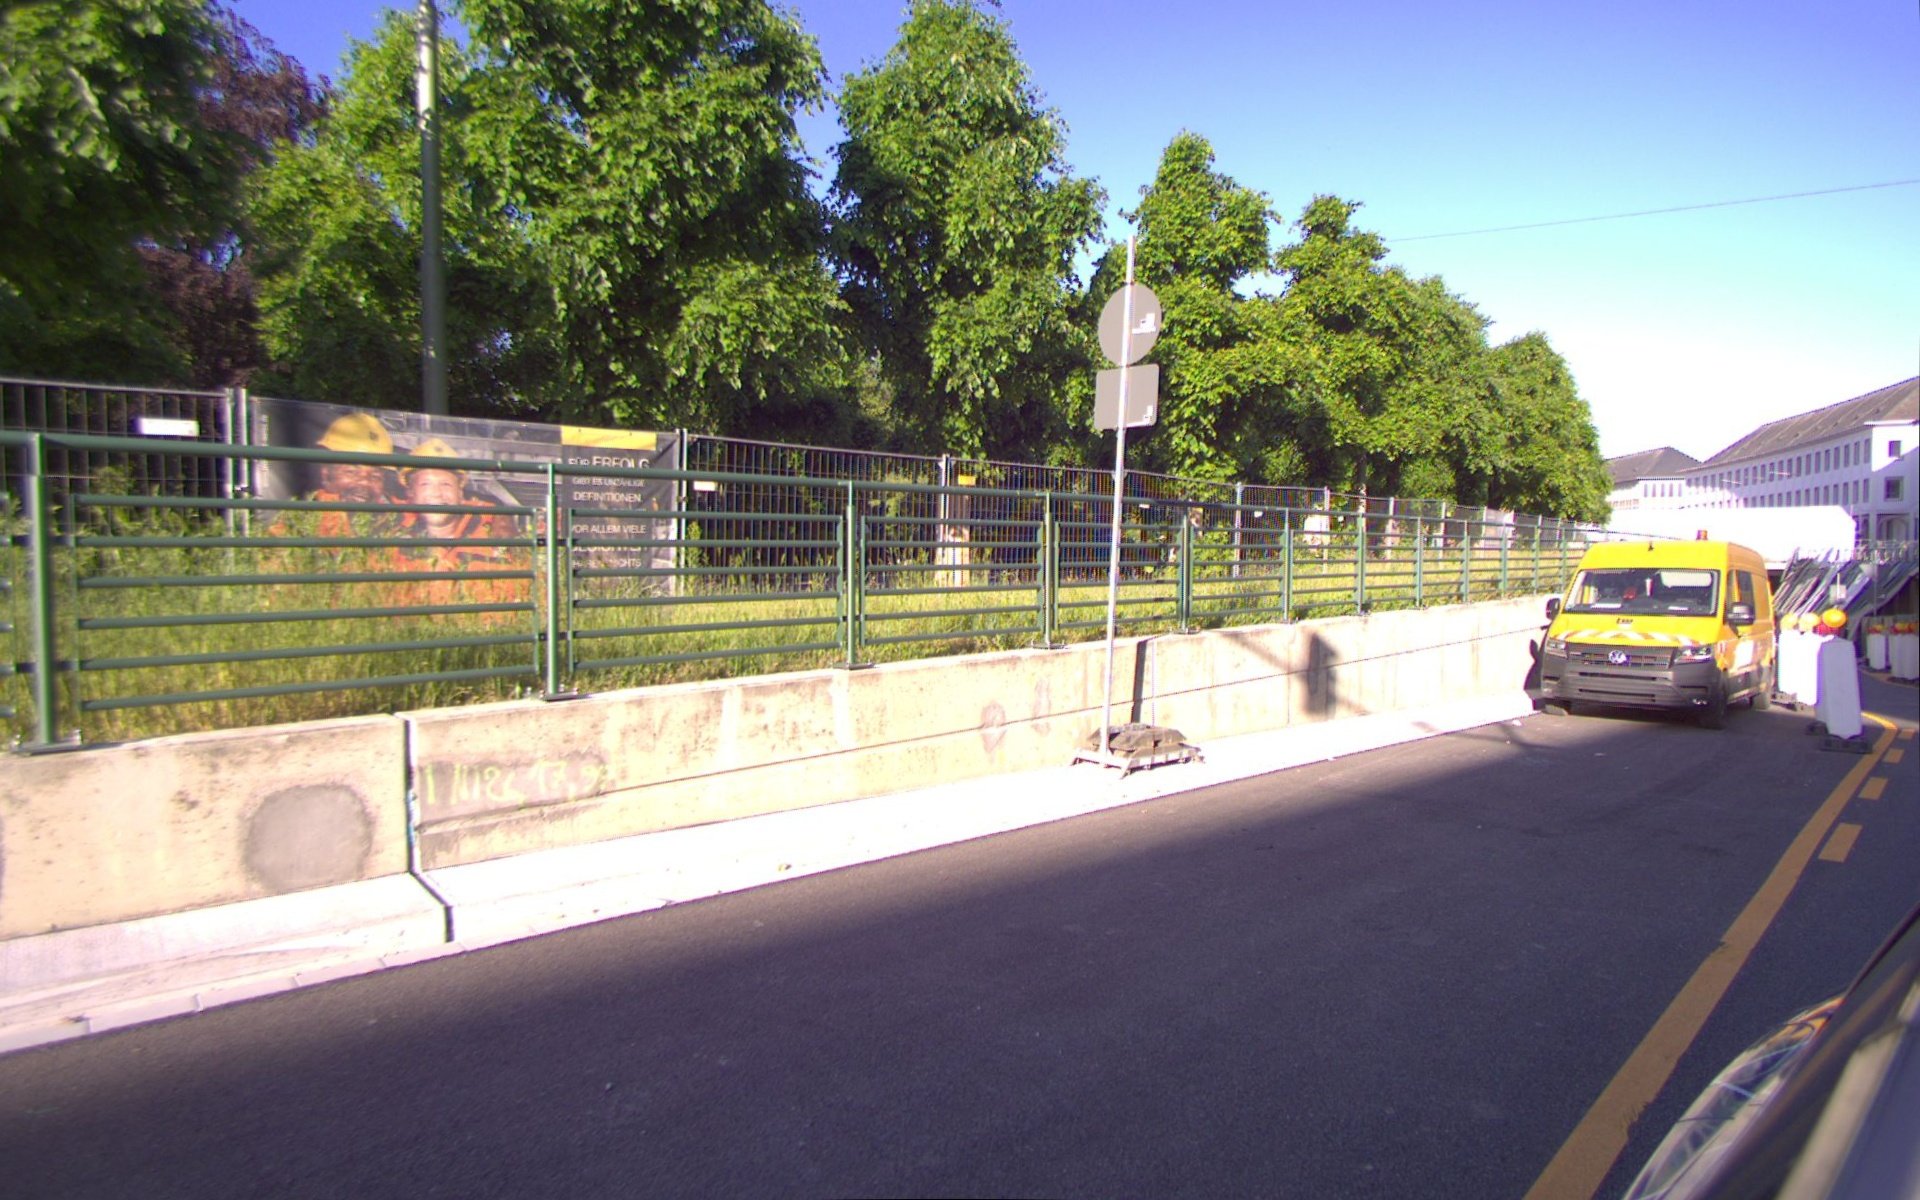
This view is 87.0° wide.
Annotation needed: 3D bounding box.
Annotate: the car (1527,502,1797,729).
[{"bbox_3d":[10.672,0.183,15.058,2.113,2.657,6.873,2,1,45],"label":"car"}]
